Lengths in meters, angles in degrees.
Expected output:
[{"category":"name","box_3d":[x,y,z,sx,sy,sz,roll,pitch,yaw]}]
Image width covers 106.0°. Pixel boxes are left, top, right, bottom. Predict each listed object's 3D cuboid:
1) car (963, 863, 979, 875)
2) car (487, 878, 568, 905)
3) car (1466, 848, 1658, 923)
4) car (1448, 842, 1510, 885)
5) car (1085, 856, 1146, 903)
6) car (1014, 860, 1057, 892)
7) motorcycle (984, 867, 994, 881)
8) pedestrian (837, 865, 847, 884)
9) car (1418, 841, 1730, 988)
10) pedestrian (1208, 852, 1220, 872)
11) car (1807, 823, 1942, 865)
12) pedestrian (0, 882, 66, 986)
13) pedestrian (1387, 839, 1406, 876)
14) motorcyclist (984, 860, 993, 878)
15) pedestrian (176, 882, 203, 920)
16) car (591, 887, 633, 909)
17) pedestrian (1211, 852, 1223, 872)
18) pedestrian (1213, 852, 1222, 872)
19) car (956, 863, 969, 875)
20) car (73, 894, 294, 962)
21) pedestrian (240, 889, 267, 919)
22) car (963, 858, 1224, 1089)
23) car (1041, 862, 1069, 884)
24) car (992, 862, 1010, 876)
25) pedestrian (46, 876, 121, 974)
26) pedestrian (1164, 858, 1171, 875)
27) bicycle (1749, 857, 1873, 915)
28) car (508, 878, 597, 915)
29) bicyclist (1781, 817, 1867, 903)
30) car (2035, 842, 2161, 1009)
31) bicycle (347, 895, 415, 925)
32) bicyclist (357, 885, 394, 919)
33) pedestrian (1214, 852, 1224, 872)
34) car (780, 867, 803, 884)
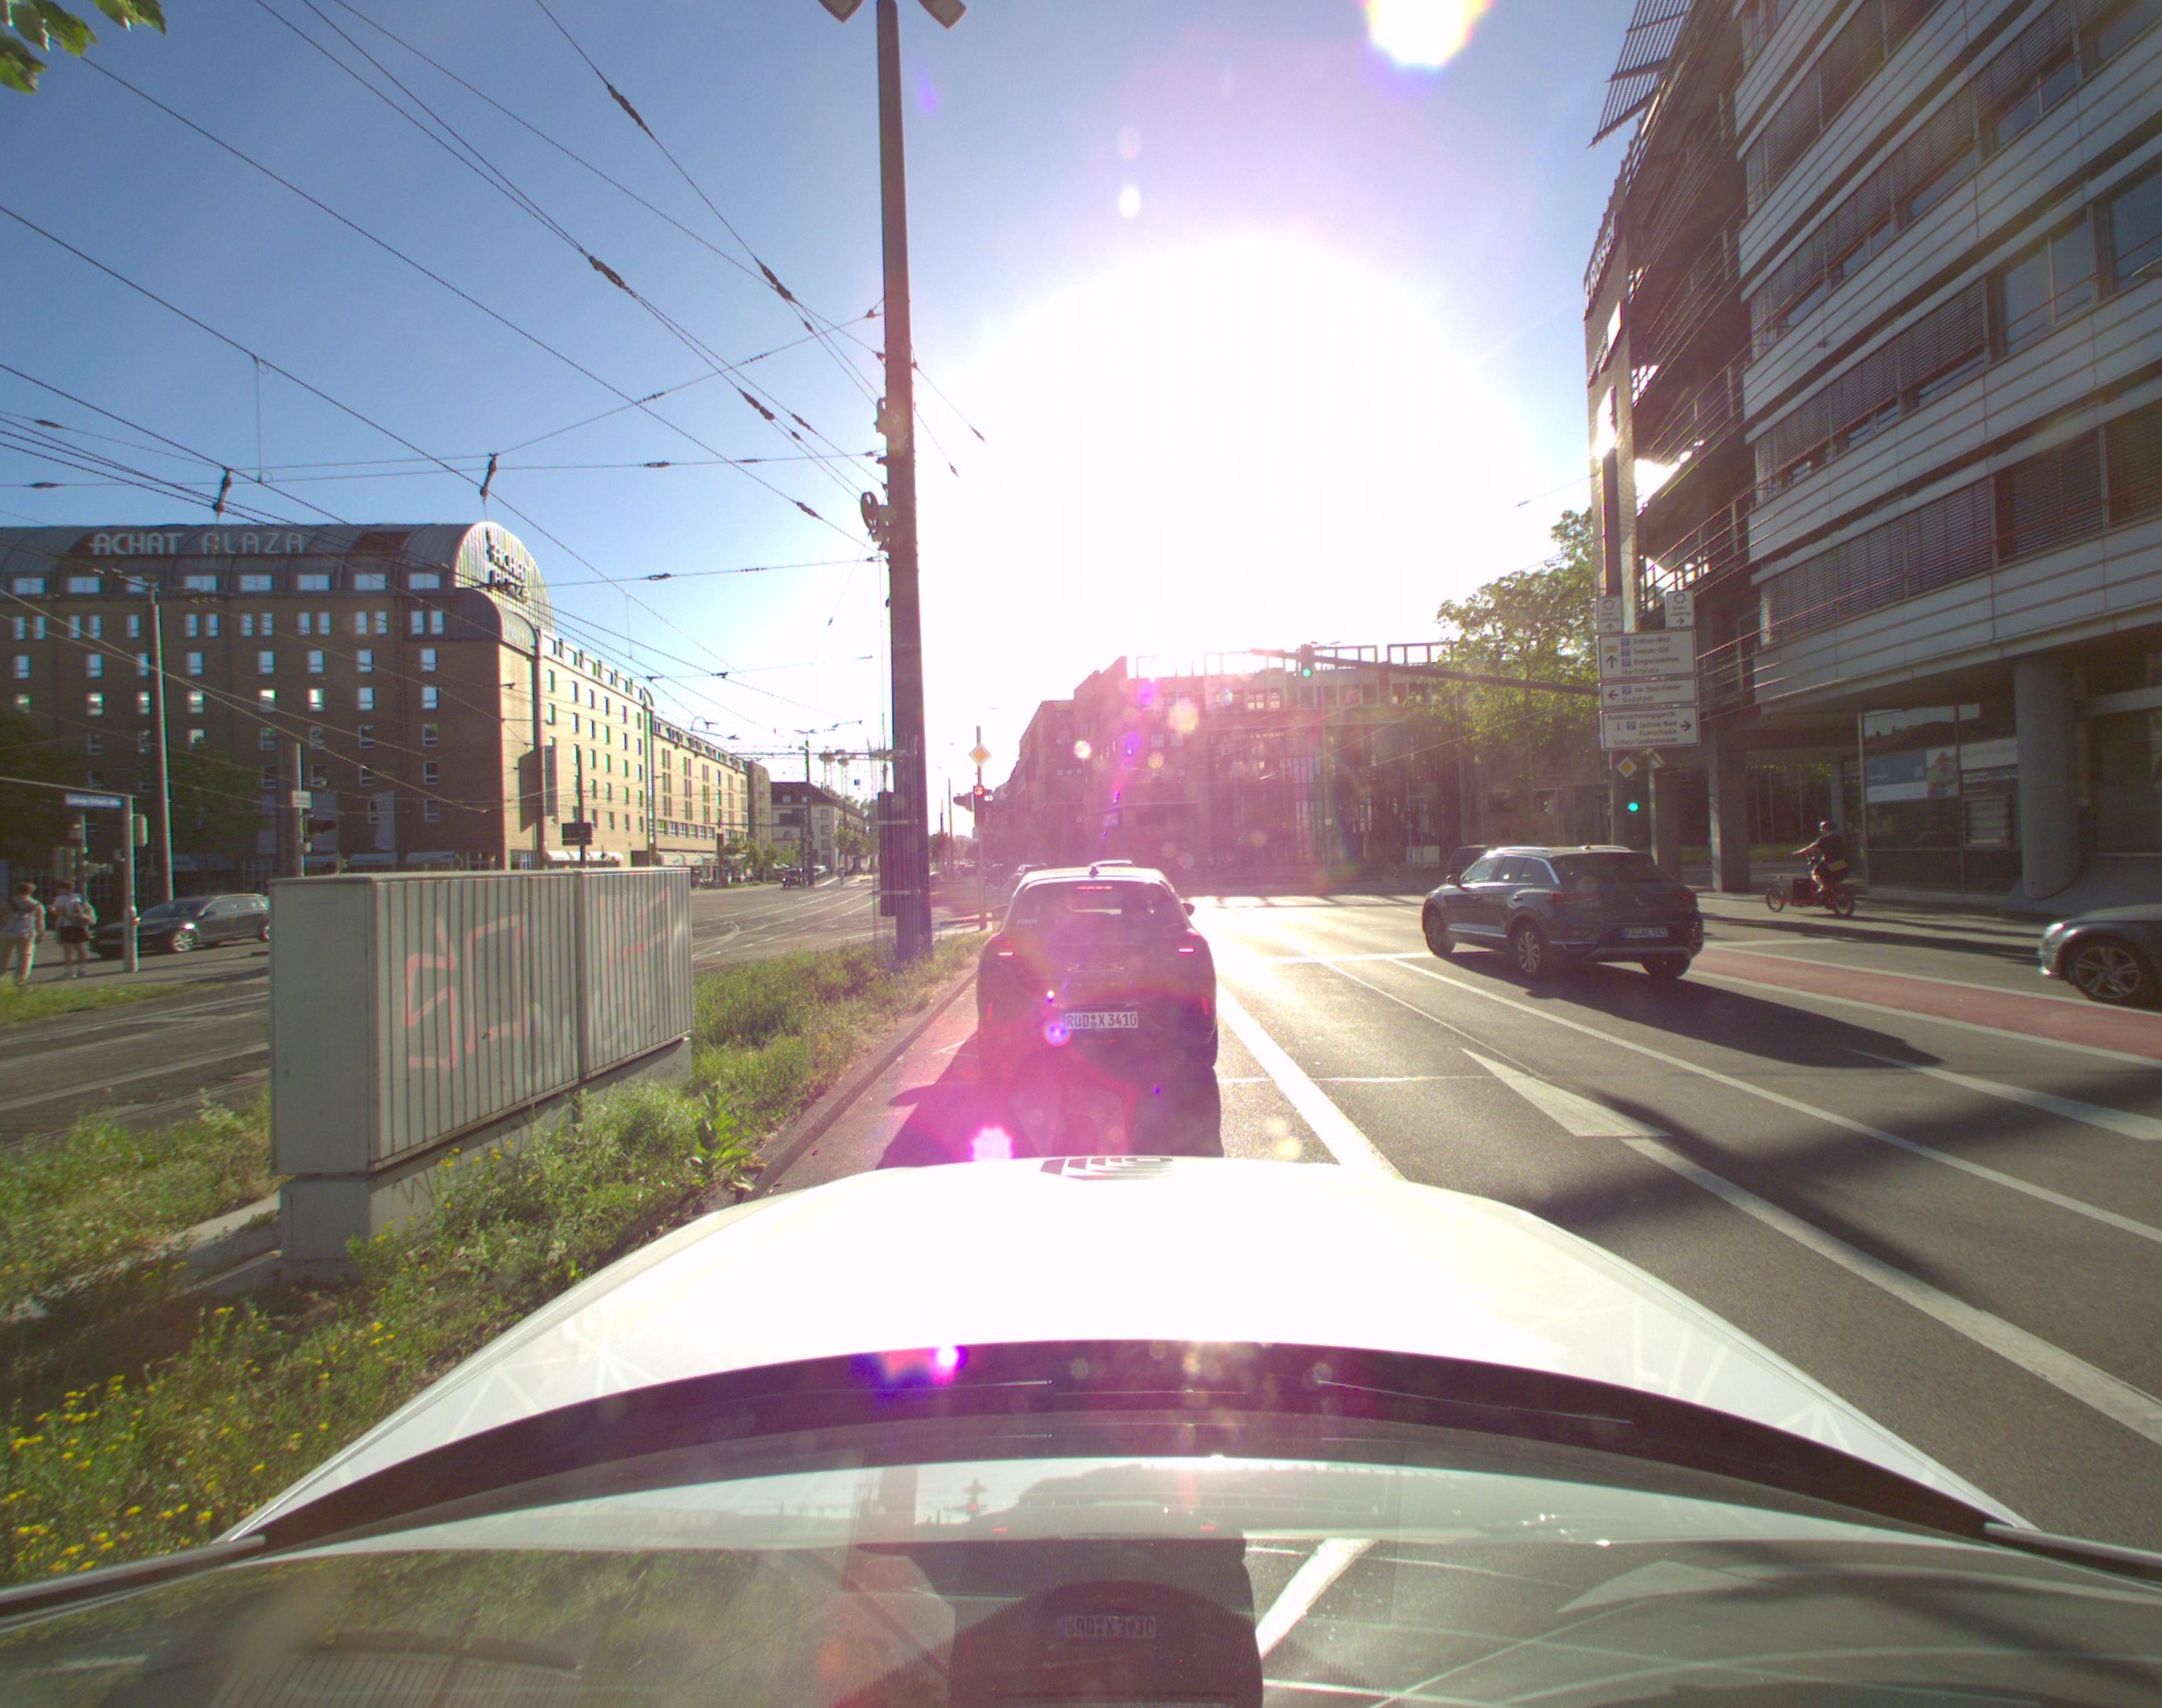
[{"category":"car","box_3d":[-13.370,1.788,98.895,1.737,1.349,3.986,-2,0,-10]},{"category":"car","box_3d":[-36.721,2.453,54.104,3.992,1.550,1.752,-2,0,-13]},{"category":"car","box_3d":[10.637,0.638,18.462,1.744,1.431,4.490,-2,0,1]},{"category":"car","box_3d":[16.379,0.362,33.420,1.671,1.629,4.491,-2,0,33]},{"category":"car","box_3d":[1.139,0.838,28.340,1.682,1.433,4.148,1,1,-4]},{"category":"car","box_3d":[-2.509,1.128,43.934,1.811,1.492,4.483,-5,0,-8]},{"category":"motorcycle","box_3d":[-7.677,1.678,67.826,0.774,1.115,1.964,-2,0,-7]},{"category":"pedestrian","box_3d":[-21.635,1.865,73.636,0.766,1.640,0.741,-2,0,-13]},{"category":"car","box_3d":[6.071,0.649,10.641,1.739,1.505,3.881,-2,0,1]},{"category":"pedestrian","box_3d":[11.088,0.685,68.064,0.894,1.617,0.562,-2,0,10]},{"category":"car","box_3d":[32.676,-0.413,33.599,3.981,1.651,1.861,-1,0,-6]},{"category":"pedestrian","box_3d":[-19.226,1.439,14.818,0.630,1.830,0.662,-2,0,-5]},{"category":"pedestrian","box_3d":[15.237,0.168,39.331,0.700,1.759,0.564,-2,-1,27]},{"category":"motorcyclist","box_3d":[-7.706,1.244,67.880,0.744,1.530,1.018,-2,0,-7]},{"category":"pedestrian","box_3d":[-48.489,2.564,44.298,0.663,2.013,0.678,-2,0,3]},{"category":"car","box_3d":[-35.984,3.359,62.590,1.757,1.388,3.980,-2,0,-15]},{"category":"pedestrian","box_3d":[11.243,0.698,67.329,0.894,1.617,0.562,-2,0,10]},{"category":"pedestrian","box_3d":[11.707,0.674,69.804,0.733,1.617,0.562,-2,0,10]},{"category":"car","box_3d":[-17.059,2.124,116.748,1.737,1.651,3.987,-2,0,-9]},{"category":"car","box_3d":[-25.050,1.995,22.995,1.719,1.422,4.139,-4,0,-4]},{"category":"pedestrian","box_3d":[-42.692,2.573,42.005,0.656,1.503,0.676,-2,0,-8]},{"category":"car","box_3d":[0.185,0.783,7.243,1.642,1.433,4.003,-2,0,3]},{"category":"car","box_3d":[-1.879,1.294,57.761,1.804,1.457,3.994,-1,0,-4]},{"category":"car","box_3d":[-8.656,1.604,87.831,1.805,1.457,3.991,-1,0,-6]},{"category":"pedestrian","box_3d":[-19.180,1.348,15.671,0.562,1.817,0.662,-2,0,-5]},{"category":"pedestrian","box_3d":[7.260,1.036,68.572,0.527,1.430,0.598,-2,0,1]},{"category":"bicycle","box_3d":[14.122,0.581,15.851,0.496,1.032,2.208,-2,0,3]},{"category":"car","box_3d":[-24.206,1.930,37.439,1.569,1.449,3.996,-2,0,-3]},{"category":"bicyclist","box_3d":[14.104,0.106,15.485,0.622,1.566,1.043,-2,0,-1]},{"category":"car","box_3d":[10.327,0.606,6.013,1.705,1.441,4.109,-2,0,-1]},{"category":"bicycle","box_3d":[-30.087,2.375,35.070,0.649,1.085,2.920,-2,0,-6]},{"category":"bicyclist","box_3d":[-30.110,2.042,34.769,0.756,1.375,0.949,-2,0,-6]},{"category":"pedestrian","box_3d":[11.688,0.669,68.890,0.733,1.617,0.562,-2,0,10]},{"category":"car","box_3d":[-28.181,2.046,79.353,1.748,1.505,3.860,-2,0,-15]}]
